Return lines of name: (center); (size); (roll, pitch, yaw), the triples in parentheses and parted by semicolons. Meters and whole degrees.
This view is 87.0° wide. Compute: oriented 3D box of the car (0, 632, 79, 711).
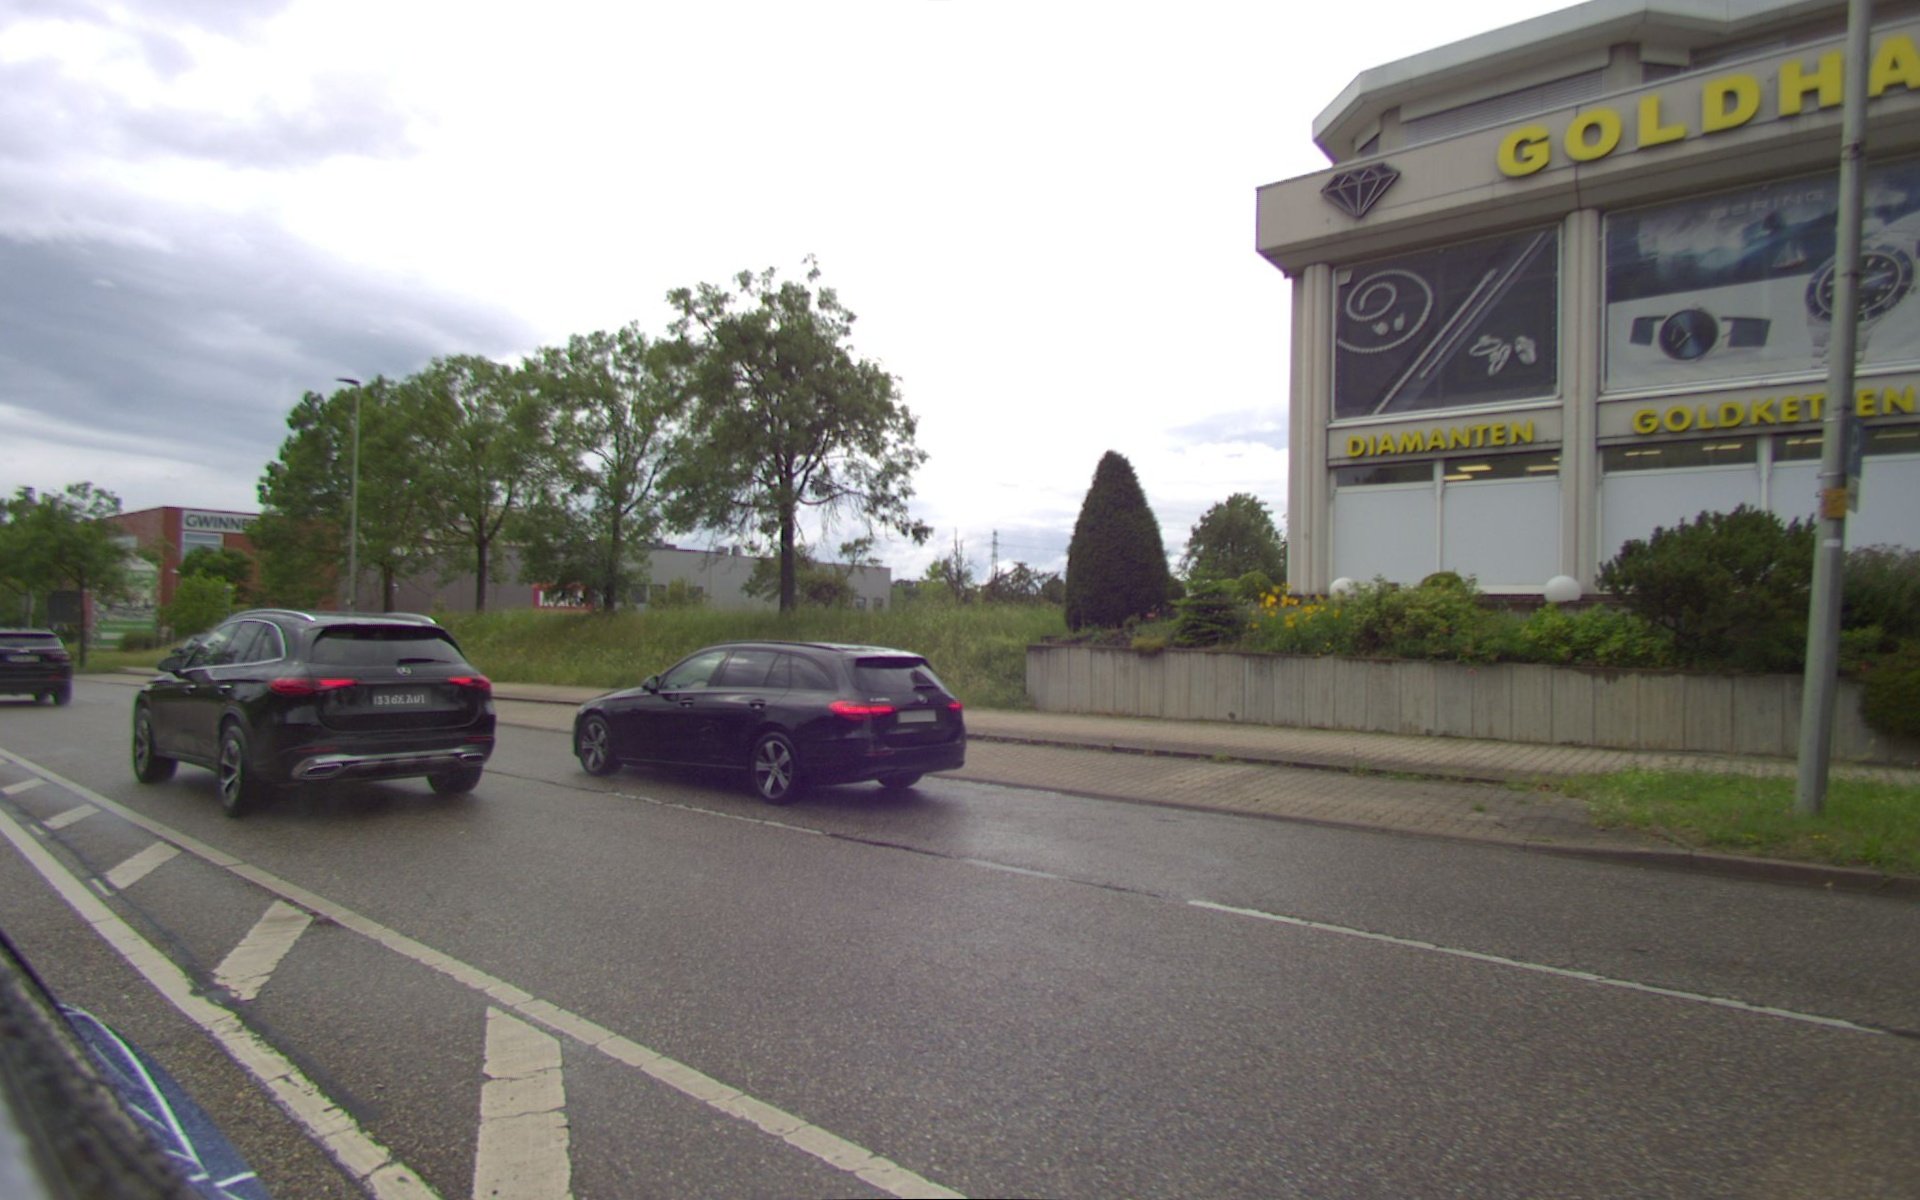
car: (-20.771, 1.530, 21.964); (4.194, 1.596, 1.777); (-3, -4, 39)

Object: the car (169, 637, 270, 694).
car: (-24.082, 2.101, 32.872); (4.485, 1.681, 1.708); (-3, -2, 41)

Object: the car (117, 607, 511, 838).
car: (-6.013, 0.953, 9.222); (4.281, 1.620, 1.804); (-2, -4, 40)

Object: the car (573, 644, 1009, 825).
car: (-1.782, 1.158, 9.992); (4.292, 1.412, 1.776); (-2, -4, 37)
